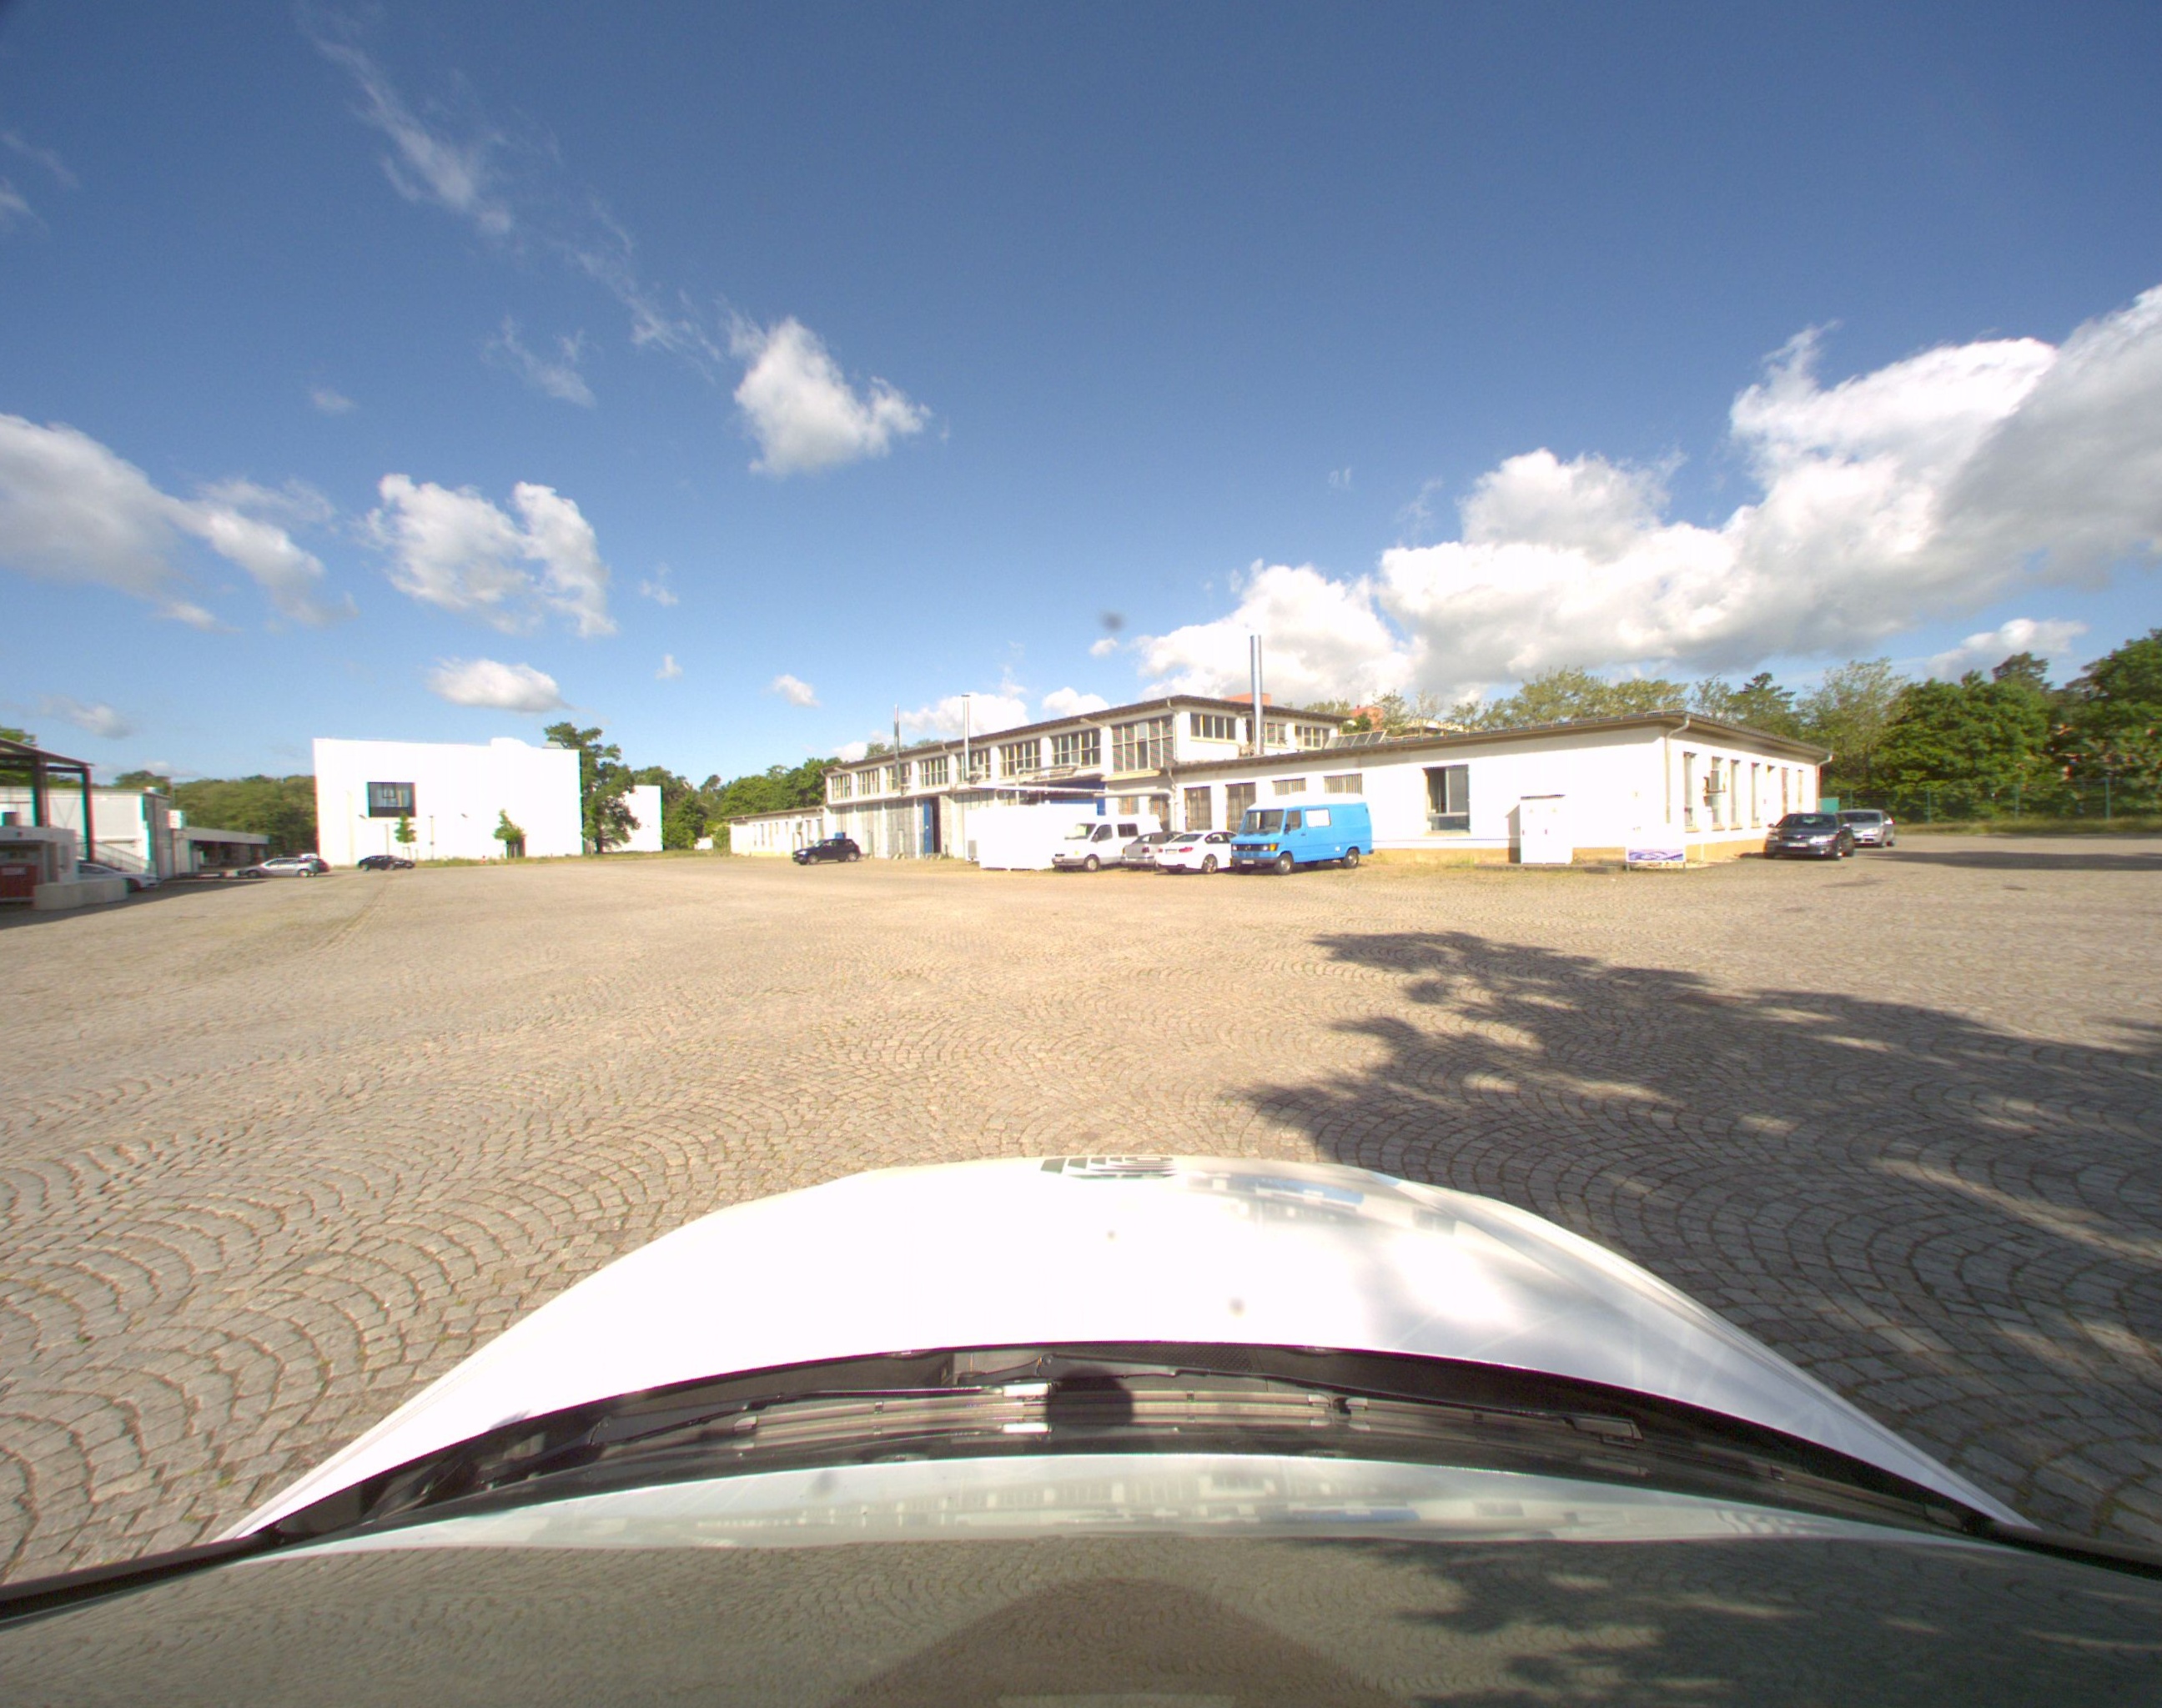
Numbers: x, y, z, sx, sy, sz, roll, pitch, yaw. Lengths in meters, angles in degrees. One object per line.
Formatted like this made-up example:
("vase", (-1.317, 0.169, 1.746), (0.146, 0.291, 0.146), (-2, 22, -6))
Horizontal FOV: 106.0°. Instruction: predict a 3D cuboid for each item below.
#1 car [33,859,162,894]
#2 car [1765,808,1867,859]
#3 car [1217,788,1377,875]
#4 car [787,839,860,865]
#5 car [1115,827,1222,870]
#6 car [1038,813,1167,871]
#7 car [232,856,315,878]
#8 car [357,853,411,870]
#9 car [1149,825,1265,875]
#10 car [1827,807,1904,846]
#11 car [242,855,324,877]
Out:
("car", (-47.209, 1.040, 39.216), (3.719, 1.408, 1.655), (-3, 2, -43))
("car", (22.871, -0.670, 25.304), (4.012, 1.435, 1.749), (-3, 2, -39))
("car", (7.012, -0.782, 26.135), (5.263, 2.482, 2.066), (-4, 2, -37))
("car", (-16.713, -0.161, 52.915), (4.099, 1.469, 1.720), (-4, 2, -41))
("car", (3.290, -0.240, 30.292), (3.850, 1.398, 1.673), (-3, 2, -37))
("car", (0.894, -0.523, 32.082), (4.827, 2.081, 1.988), (-3, 1, -37))
("car", (-59.787, 0.960, 60.400), (4.211, 1.403, 1.720), (-3, 2, -41))
("car", (-63.099, 0.682, 73.698), (4.031, 1.429, 1.748), (-1, 1, 16))
("car", (4.301, -0.158, 27.522), (3.757, 1.405, 1.718), (-4, 2, -37))
("car", (30.377, -1.081, 31.522), (4.007, 1.435, 1.673), (-3, 2, -39))
("car", (-61.652, 0.871, 63.014), (4.382, 1.469, 1.720), (-3, 2, -41))
